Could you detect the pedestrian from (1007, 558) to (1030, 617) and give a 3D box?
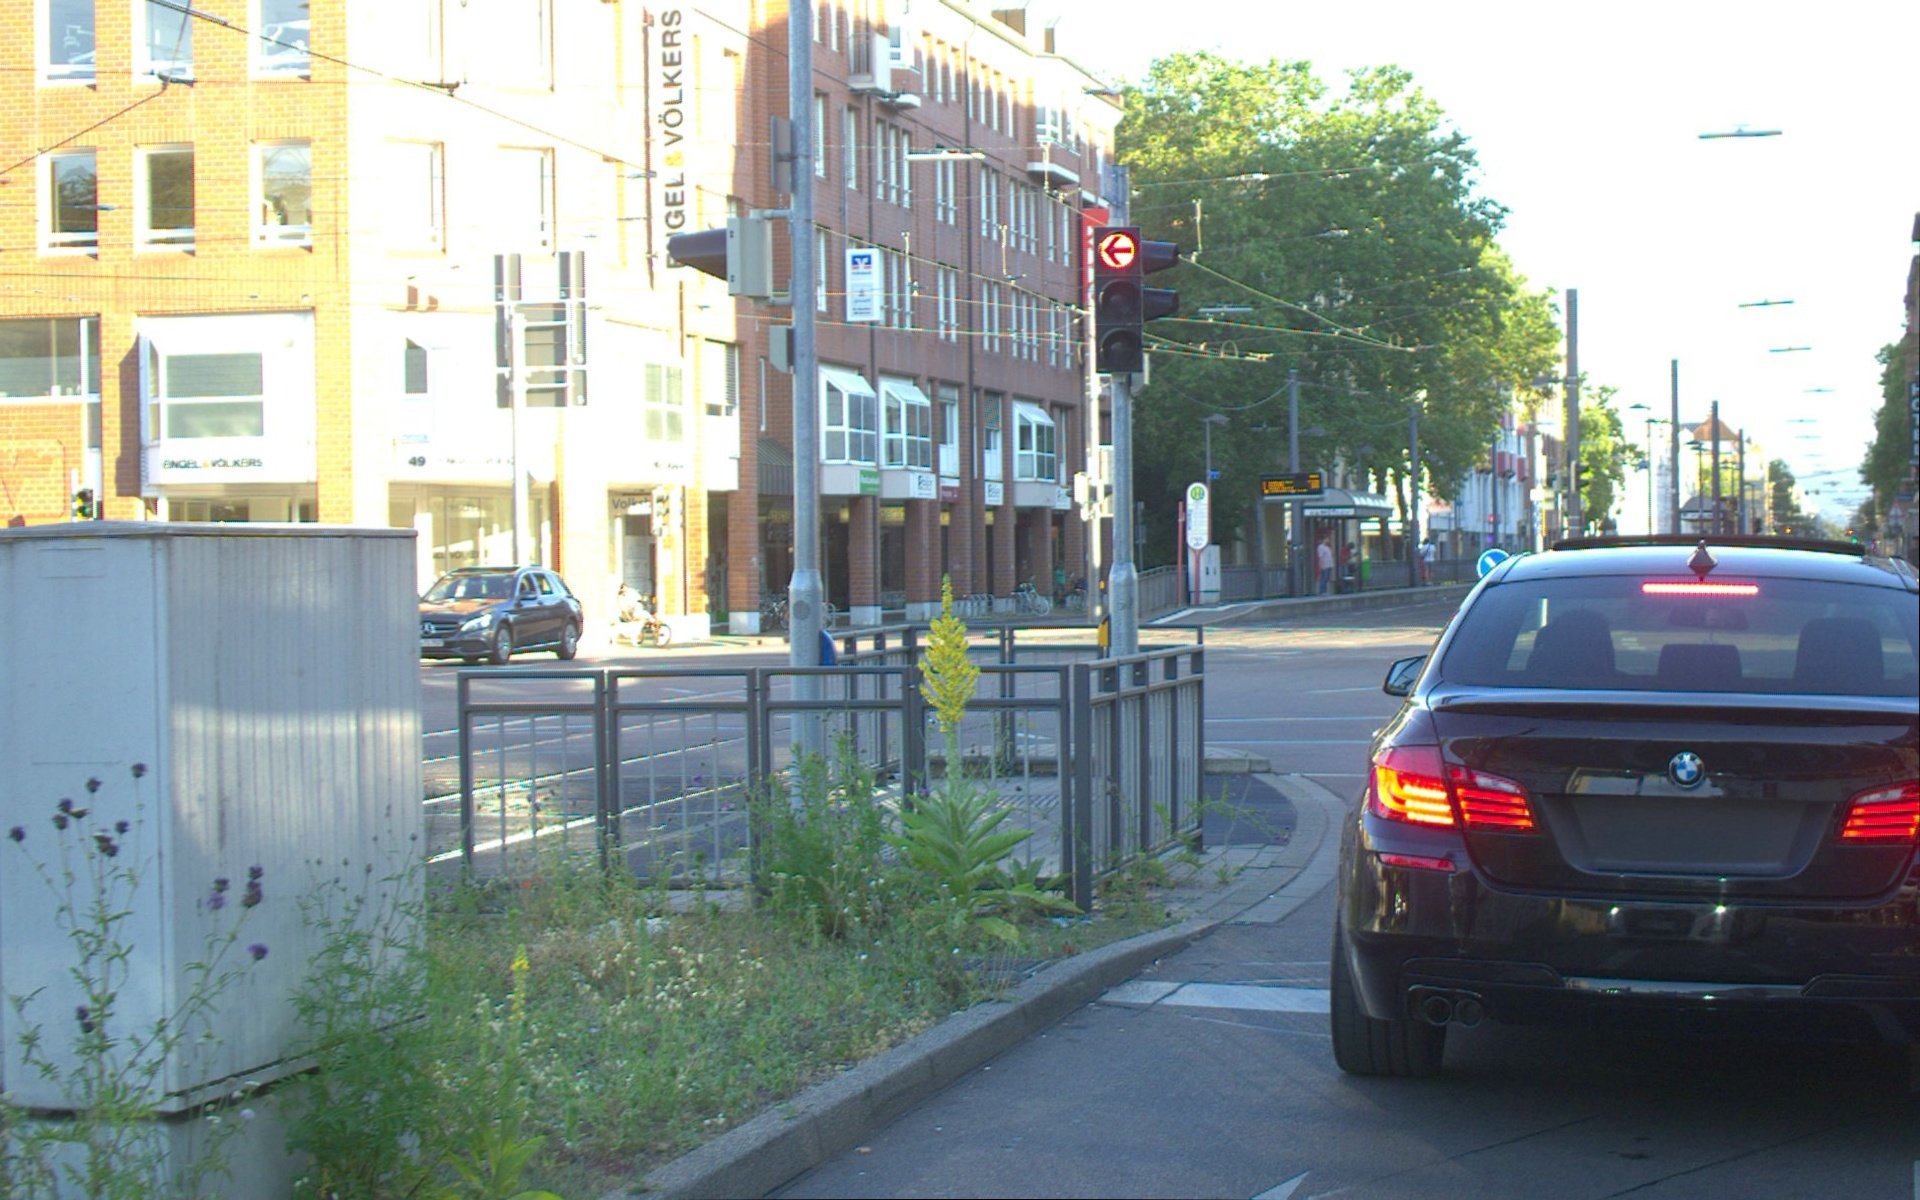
[{"bbox_3d":[1.690,-0.357,99.421,0.486,1.675,0.654,-1,1,19],"label":"pedestrian"}]

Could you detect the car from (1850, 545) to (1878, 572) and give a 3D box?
[{"bbox_3d":[50.524,-2.324,192.144,1.474,1.509,3.094,-1,1,14],"label":"car"}]

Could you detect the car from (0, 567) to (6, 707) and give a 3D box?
[{"bbox_3d":[-11.318,0.424,33.832,1.670,1.443,4.198,0,1,18],"label":"car"}]

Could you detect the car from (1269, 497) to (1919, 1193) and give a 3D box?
[{"bbox_3d":[2.109,0.527,10.023,1.994,1.579,3.998,2,2,11],"label":"car"}]

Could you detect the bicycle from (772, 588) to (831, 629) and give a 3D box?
[{"bbox_3d":[-3.662,0.198,79.350,1.286,0.919,0.349,1,1,12],"label":"bicycle"}]

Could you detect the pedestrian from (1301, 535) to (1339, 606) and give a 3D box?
[{"bbox_3d":[10.327,-0.853,98.600,0.988,2.007,0.725,1,1,14],"label":"pedestrian"}]

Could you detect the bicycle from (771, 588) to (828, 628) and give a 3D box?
[{"bbox_3d":[-3.725,0.186,79.932,1.286,0.919,0.349,1,1,-1],"label":"bicycle"}]

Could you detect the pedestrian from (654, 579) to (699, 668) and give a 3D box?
[{"bbox_3d":[-6.046,0.495,73.397,0.633,1.861,0.677,2,2,41],"label":"pedestrian"}]

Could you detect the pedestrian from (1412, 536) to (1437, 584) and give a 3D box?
[{"bbox_3d":[16.548,-1.436,122.464,0.724,1.675,0.990,-1,1,17],"label":"pedestrian"}]

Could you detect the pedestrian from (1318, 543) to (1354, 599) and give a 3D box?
[{"bbox_3d":[11.355,-0.866,103.791,0.988,1.675,0.725,-1,1,14],"label":"pedestrian"}]

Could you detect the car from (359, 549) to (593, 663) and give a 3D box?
[{"bbox_3d":[-7.181,0.061,51.507,1.994,1.579,4.476,-1,1,13],"label":"car"}]

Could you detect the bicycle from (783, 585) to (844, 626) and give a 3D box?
[{"bbox_3d":[-3.454,0.132,81.325,1.412,0.919,0.444,1,1,-1],"label":"bicycle"}]
